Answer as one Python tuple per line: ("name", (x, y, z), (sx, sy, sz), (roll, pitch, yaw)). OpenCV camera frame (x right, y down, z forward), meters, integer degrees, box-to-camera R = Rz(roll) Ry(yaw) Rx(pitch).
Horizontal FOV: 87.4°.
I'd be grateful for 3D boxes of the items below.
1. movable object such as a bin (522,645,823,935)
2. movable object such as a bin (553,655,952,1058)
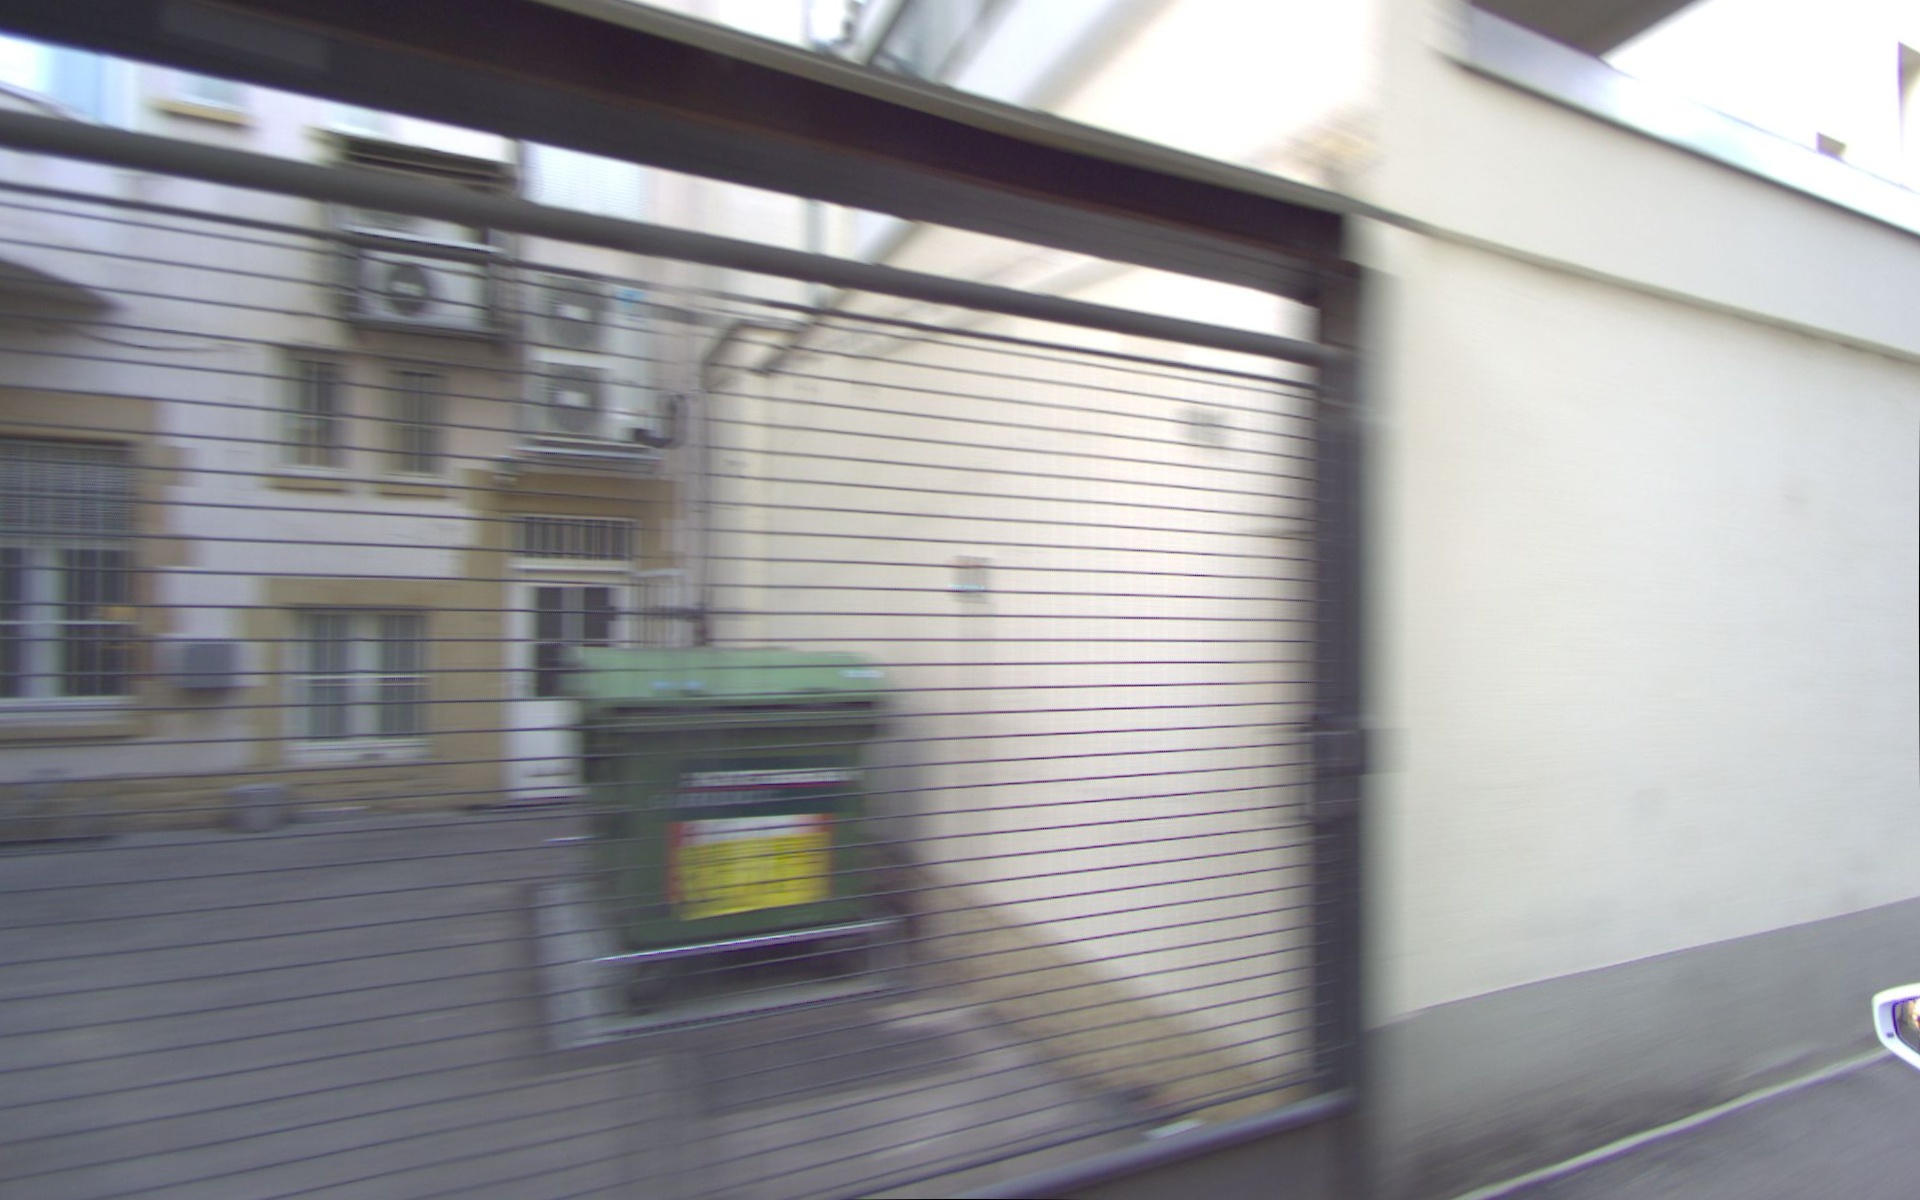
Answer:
("movable object such as a bin", (-1.723, 1.004, 5.937), (1.567, 1.443, 1.068), (1, -1, -24))
("movable object such as a bin", (-0.991, 1.002, 4.605), (1.567, 1.443, 1.177), (1, -1, -24))
